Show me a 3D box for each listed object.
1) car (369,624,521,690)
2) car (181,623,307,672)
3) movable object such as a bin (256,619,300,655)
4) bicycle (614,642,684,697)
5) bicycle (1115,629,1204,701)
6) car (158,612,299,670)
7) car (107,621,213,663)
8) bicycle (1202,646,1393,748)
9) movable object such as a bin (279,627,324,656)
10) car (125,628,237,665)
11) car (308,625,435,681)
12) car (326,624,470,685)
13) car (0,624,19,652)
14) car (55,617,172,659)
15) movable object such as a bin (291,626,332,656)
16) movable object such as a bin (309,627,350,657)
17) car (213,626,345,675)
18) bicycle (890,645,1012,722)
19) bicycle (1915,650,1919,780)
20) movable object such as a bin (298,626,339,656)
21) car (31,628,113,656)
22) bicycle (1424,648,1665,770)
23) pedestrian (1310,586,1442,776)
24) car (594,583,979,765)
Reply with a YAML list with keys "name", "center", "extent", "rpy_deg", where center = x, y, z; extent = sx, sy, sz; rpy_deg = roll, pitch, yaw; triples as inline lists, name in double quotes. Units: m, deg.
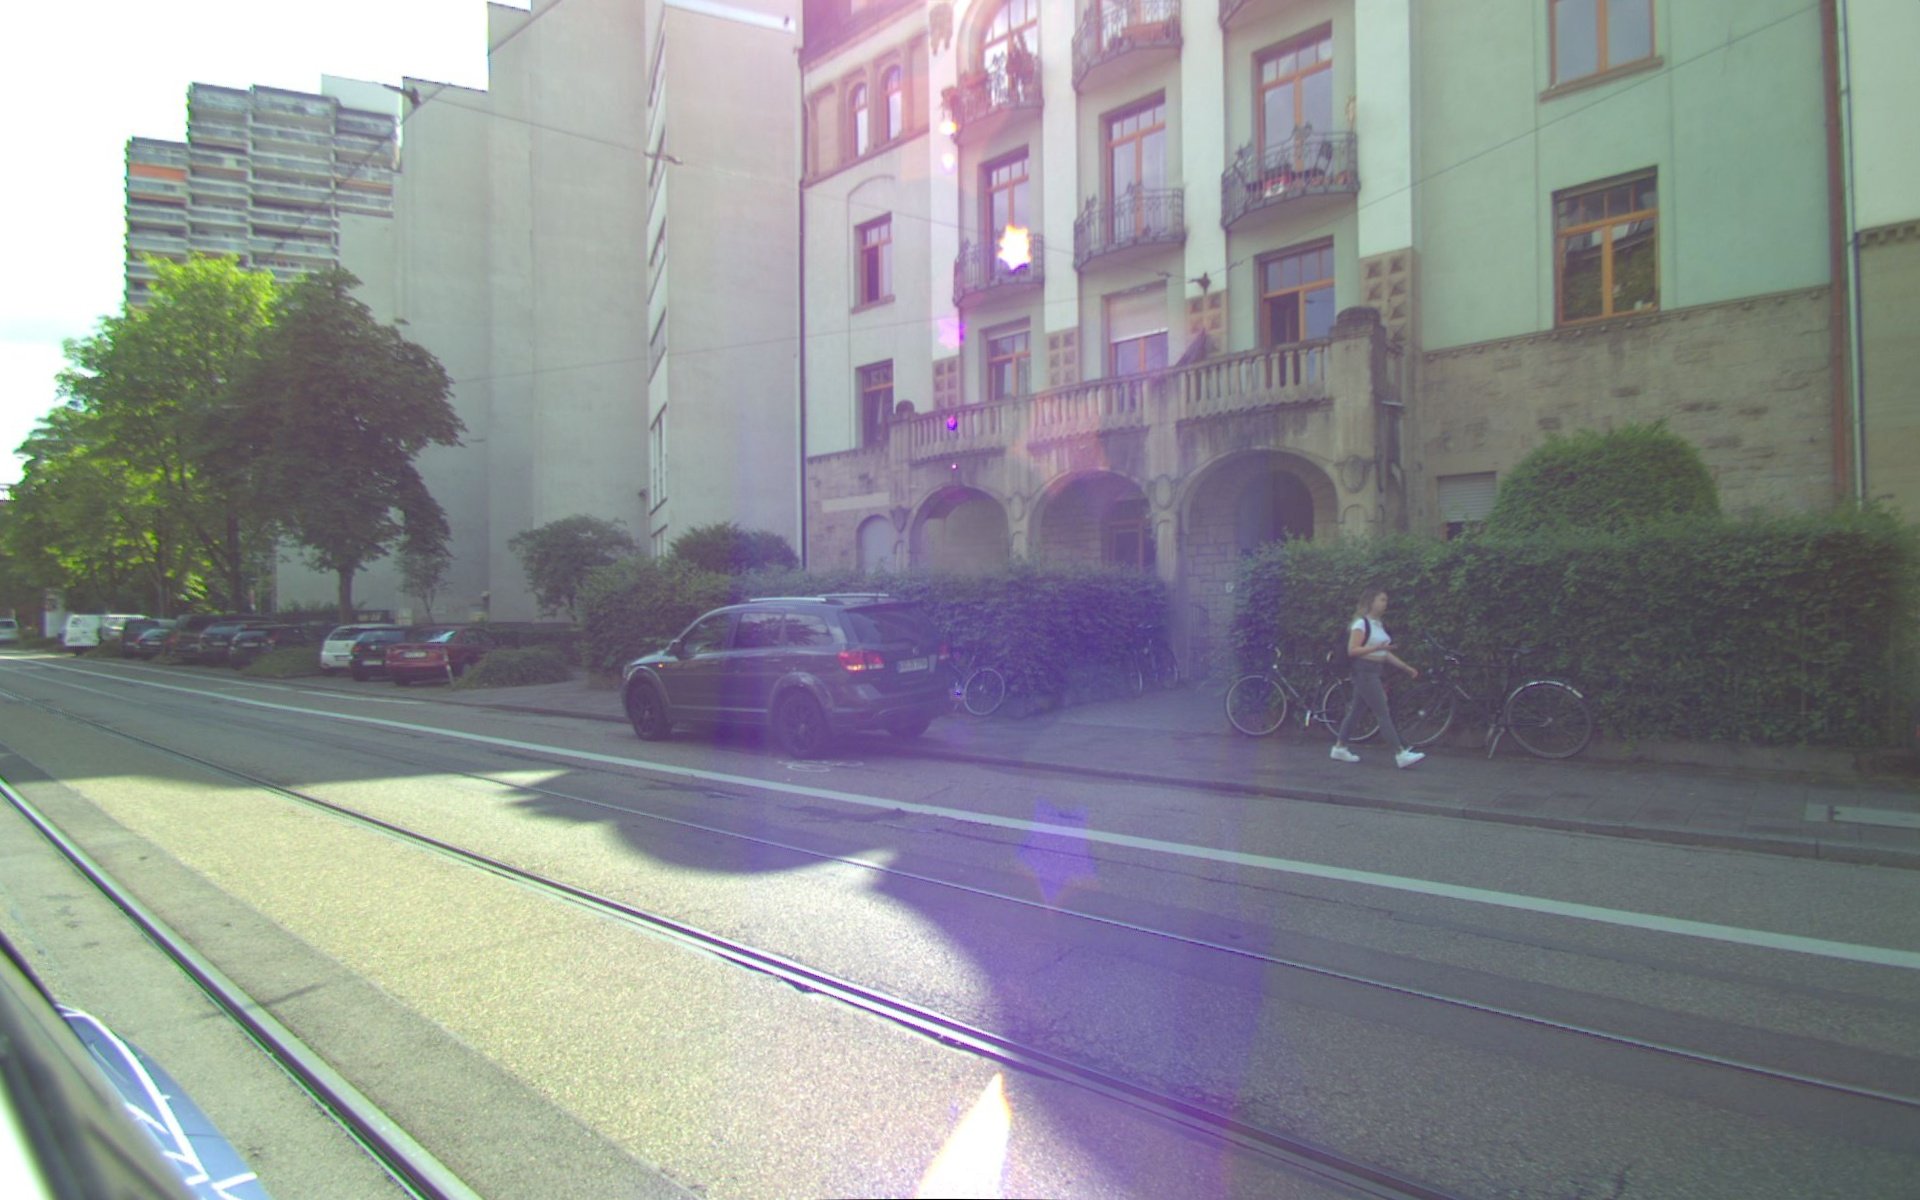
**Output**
- name: "car"
  center: [-12.670, 1.407, 25.192]
  extent: [1.820, 1.495, 3.971]
  rpy_deg: [1, -3, -2]
- name: "car"
  center: [-25.098, 1.671, 35.671]
  extent: [1.715, 1.605, 4.002]
  rpy_deg: [1, -3, -3]
- name: "movable object such as a bin"
  center: [-35.112, 1.925, 52.097]
  extent: [1.536, 1.795, 1.374]
  rpy_deg: [-1, -4, 37]
- name: "bicycle"
  center: [-5.860, 1.284, 19.027]
  extent: [1.810, 0.966, 0.378]
  rpy_deg: [-2, 0, 43]
- name: "bicycle"
  center: [3.069, 0.958, 15.431]
  extent: [0.384, 0.966, 1.894]
  rpy_deg: [-2, 0, 42]
- name: "car"
  center: [-27.394, 1.570, 38.162]
  extent: [1.887, 1.969, 5.173]
  rpy_deg: [1, -3, -5]
- name: "car"
  center: [-34.765, 1.847, 44.113]
  extent: [1.735, 1.706, 3.717]
  rpy_deg: [1, -3, -3]
- name: "bicycle"
  center: [3.530, 0.993, 10.732]
  extent: [1.921, 0.966, 0.378]
  rpy_deg: [-2, 0, 43]
- name: "movable object such as a bin"
  center: [-32.491, 2.055, 49.919]
  extent: [1.536, 1.374, 1.374]
  rpy_deg: [-1, -4, 37]
- name: "car"
  center: [-32.206, 1.925, 41.981]
  extent: [1.734, 1.428, 4.004]
  rpy_deg: [1, -3, -5]
- name: "car"
  center: [-17.165, 1.547, 29.727]
  extent: [1.672, 1.495, 3.810]
  rpy_deg: [1, -3, -4]
- name: "car"
  center: [-15.036, 1.460, 27.321]
  extent: [1.675, 1.495, 3.805]
  rpy_deg: [1, -3, 1]
- name: "car"
  center: [-68.141, 2.678, 71.345]
  extent: [4.230, 1.865, 1.870]
  rpy_deg: [-1, 1, 38]
- name: "car"
  center: [-42.048, 1.865, 50.450]
  extent: [1.941, 2.012, 4.686]
  rpy_deg: [0, -1, -1]
- name: "movable object such as a bin"
  center: [-31.299, 1.997, 48.858]
  extent: [1.440, 1.391, 1.181]
  rpy_deg: [-1, -4, 38]
- name: "movable object such as a bin"
  center: [-28.933, 1.917, 46.430]
  extent: [1.441, 1.293, 1.156]
  rpy_deg: [-1, -4, 40]
- name: "car"
  center: [-22.501, 1.676, 33.621]
  extent: [1.716, 1.495, 4.001]
  rpy_deg: [1, -3, -1]
- name: "bicycle"
  center: [-0.151, 1.116, 13.860]
  extent: [1.921, 0.966, 0.378]
  rpy_deg: [-2, 0, 43]
- name: "bicycle"
  center: [7.768, 0.845, 6.896]
  extent: [1.801, 0.966, 0.378]
  rpy_deg: [-2, 0, 43]
- name: "movable object such as a bin"
  center: [-30.047, 1.902, 47.392]
  extent: [1.440, 1.337, 1.152]
  rpy_deg: [-1, -4, 40]
- name: "car"
  center: [-52.369, 2.441, 59.768]
  extent: [1.716, 1.535, 3.890]
  rpy_deg: [-1, -1, -5]
- name: "bicycle"
  center: [5.185, 0.929, 9.069]
  extent: [1.800, 0.966, 0.446]
  rpy_deg: [-2, 0, 41]
- name: "pedestrian"
  center: [3.710, 0.685, 9.038]
  extent: [0.882, 1.580, 0.672]
  rpy_deg: [-1, 0, 43]
- name: "car"
  center: [-2.232, 0.785, 12.073]
  extent: [4.877, 1.776, 1.767]
  rpy_deg: [-2, -2, 39]
